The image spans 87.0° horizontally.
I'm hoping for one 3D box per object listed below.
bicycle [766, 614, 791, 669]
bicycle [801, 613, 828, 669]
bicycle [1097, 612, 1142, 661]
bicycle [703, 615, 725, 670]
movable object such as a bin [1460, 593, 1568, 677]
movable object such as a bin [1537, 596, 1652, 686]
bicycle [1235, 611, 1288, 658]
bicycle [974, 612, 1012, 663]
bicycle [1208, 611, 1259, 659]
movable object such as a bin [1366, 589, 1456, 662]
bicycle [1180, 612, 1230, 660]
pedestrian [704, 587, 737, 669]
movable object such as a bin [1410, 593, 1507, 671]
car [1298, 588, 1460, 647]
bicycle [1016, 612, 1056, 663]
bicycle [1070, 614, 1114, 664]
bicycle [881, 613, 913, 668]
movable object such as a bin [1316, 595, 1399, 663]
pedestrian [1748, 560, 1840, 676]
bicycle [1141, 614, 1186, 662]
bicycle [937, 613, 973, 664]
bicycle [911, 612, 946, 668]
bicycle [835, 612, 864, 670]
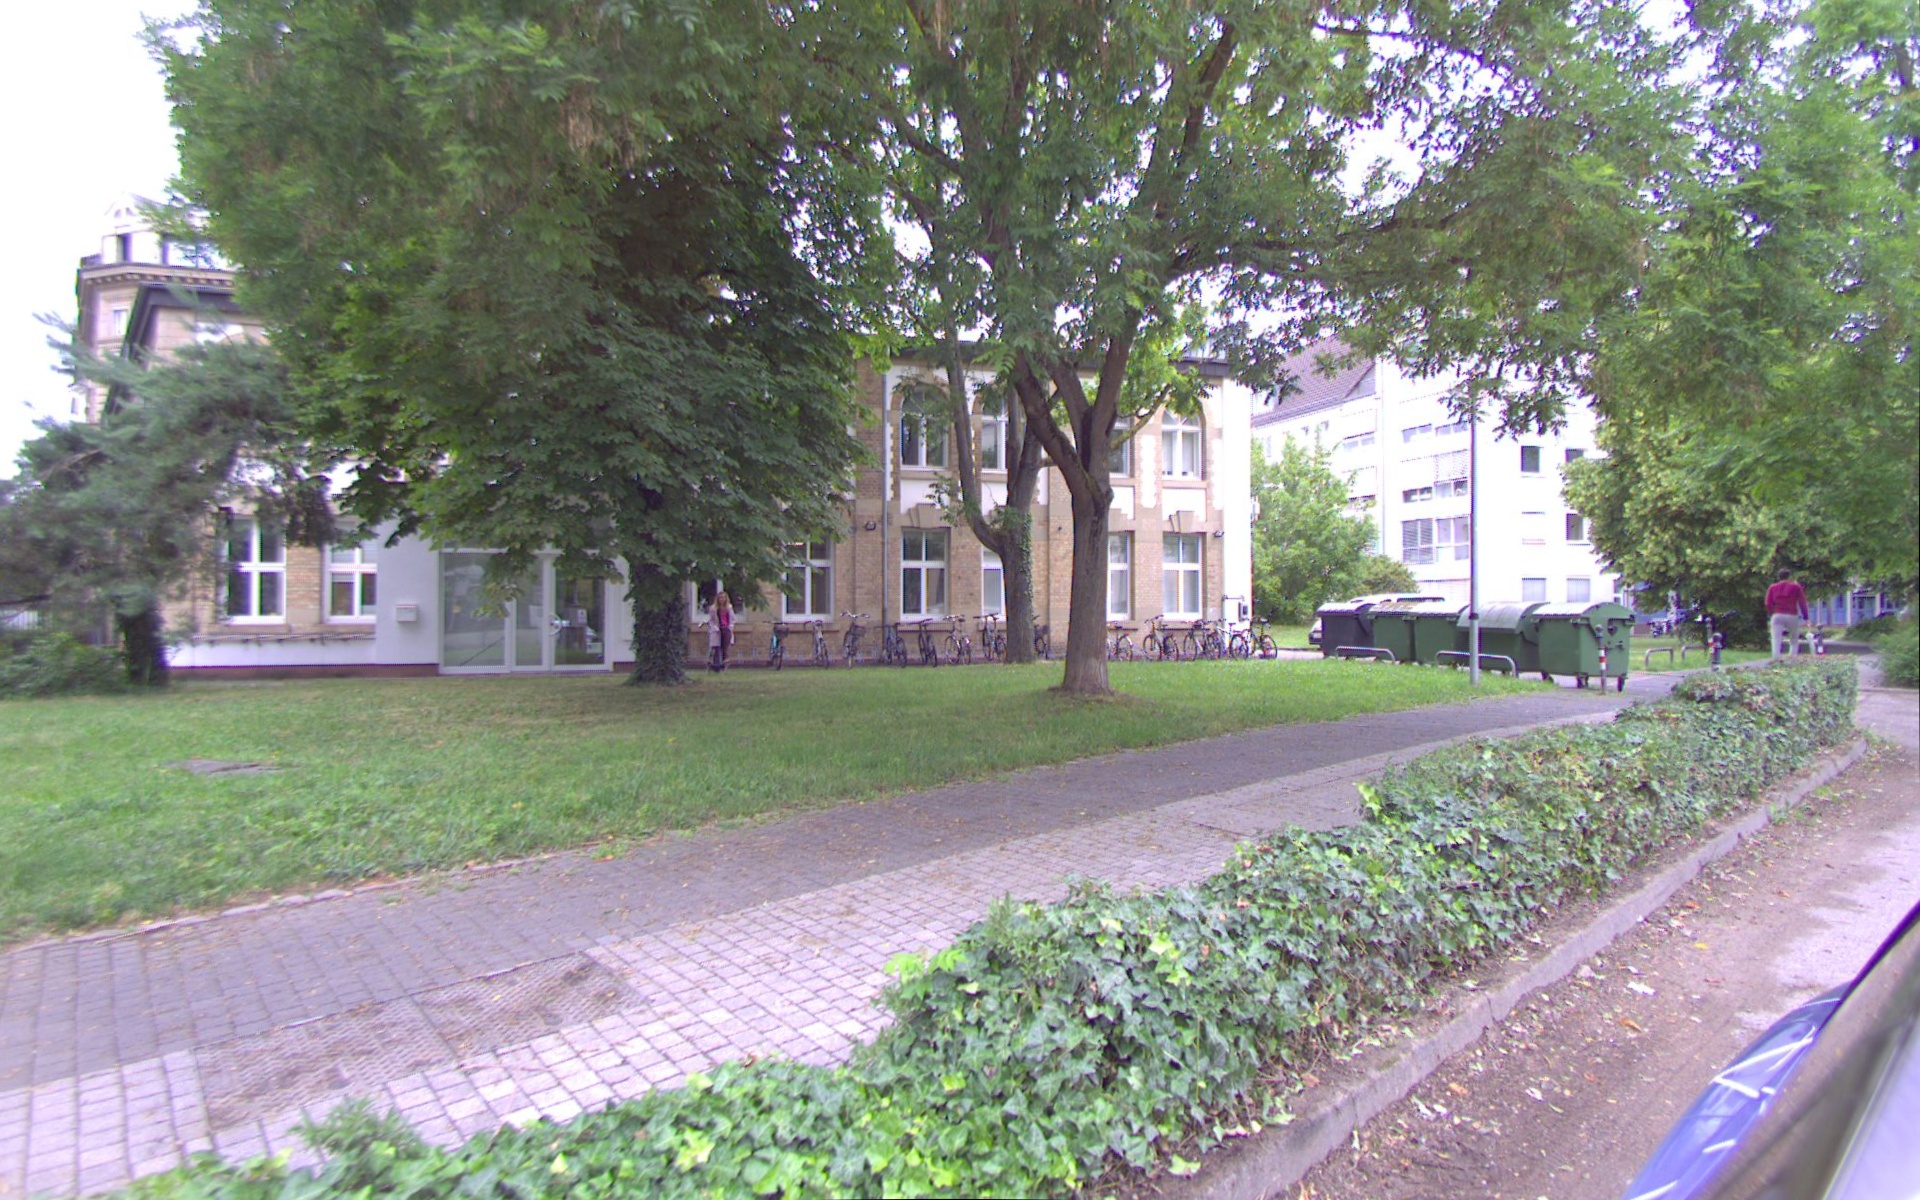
[{"bbox_3d":[-3.979,0.882,22.162,0.451,1.129,1.748,0,-1,-13],"label":"bicycle"},{"bbox_3d":[-3.238,0.888,22.422,0.451,1.128,1.748,0,1,-13],"label":"bicycle"},{"bbox_3d":[3.825,0.861,24.409,0.451,1.129,1.748,0,-1,-13],"label":"bicycle"},{"bbox_3d":[-5.310,0.886,21.890,0.451,1.129,1.748,0,-1,-13],"label":"bicycle"},{"bbox_3d":[10.030,0.613,18.364,1.085,1.469,1.288,0,-1,-20],"label":"movable object such as a bin"},{"bbox_3d":[10.623,0.662,16.990,1.050,1.452,1.276,0,0,-6],"label":"movable object such as a bin"},{"bbox_3d":[7.592,0.851,25.537,0.451,1.129,1.748,0,-1,-14],"label":"bicycle"},{"bbox_3d":[0.764,0.852,23.670,0.451,1.129,1.748,0,-1,-13],"label":"bicycle"},{"bbox_3d":[6.798,0.856,25.256,0.451,1.129,1.748,0,-1,-13],"label":"bicycle"},{"bbox_3d":[9.460,0.511,21.251,1.085,1.469,1.329,0,-1,-20],"label":"movable object such as a bin"},{"bbox_3d":[6.043,0.875,25.048,0.451,1.129,1.748,0,-1,-13],"label":"bicycle"},{"bbox_3d":[-4.782,0.544,20.194,0.614,1.607,0.605,0,-1,-15],"label":"pedestrian"},{"bbox_3d":[9.767,0.606,19.866,1.085,1.469,1.297,0,-1,-20],"label":"movable object such as a bin"},{"bbox_3d":[13.975,0.591,33.832,4.673,1.898,1.904,0,-3,-13],"label":"car"},{"bbox_3d":[1.765,0.864,23.794,0.451,1.129,1.748,0,0,-13],"label":"bicycle"},{"bbox_3d":[3.134,0.904,24.204,0.451,1.129,1.748,0,-1,-13],"label":"bicycle"},{"bbox_3d":[-1.449,0.895,22.967,0.451,1.128,1.748,0,1,-13],"label":"bicycle"},{"bbox_3d":[8.904,0.630,22.736,1.085,1.469,1.365,0,-1,-20],"label":"movable object such as a bin"},{"bbox_3d":[15.488,0.321,18.807,1.176,2.090,0.796,0,-1,-19],"label":"pedestrian"},{"bbox_3d":[4.945,0.905,24.698,0.451,1.129,1.747,0,-1,-11],"label":"bicycle"},{"bbox_3d":[-0.135,0.875,23.404,0.451,1.129,1.748,0,-1,-13],"label":"bicycle"},{"bbox_3d":[-0.731,0.886,23.064,0.451,1.128,1.749,0,2,-13],"label":"bicycle"},{"bbox_3d":[-2.484,0.893,22.673,0.451,1.128,1.749,0,2,-13],"label":"bicycle"}]
